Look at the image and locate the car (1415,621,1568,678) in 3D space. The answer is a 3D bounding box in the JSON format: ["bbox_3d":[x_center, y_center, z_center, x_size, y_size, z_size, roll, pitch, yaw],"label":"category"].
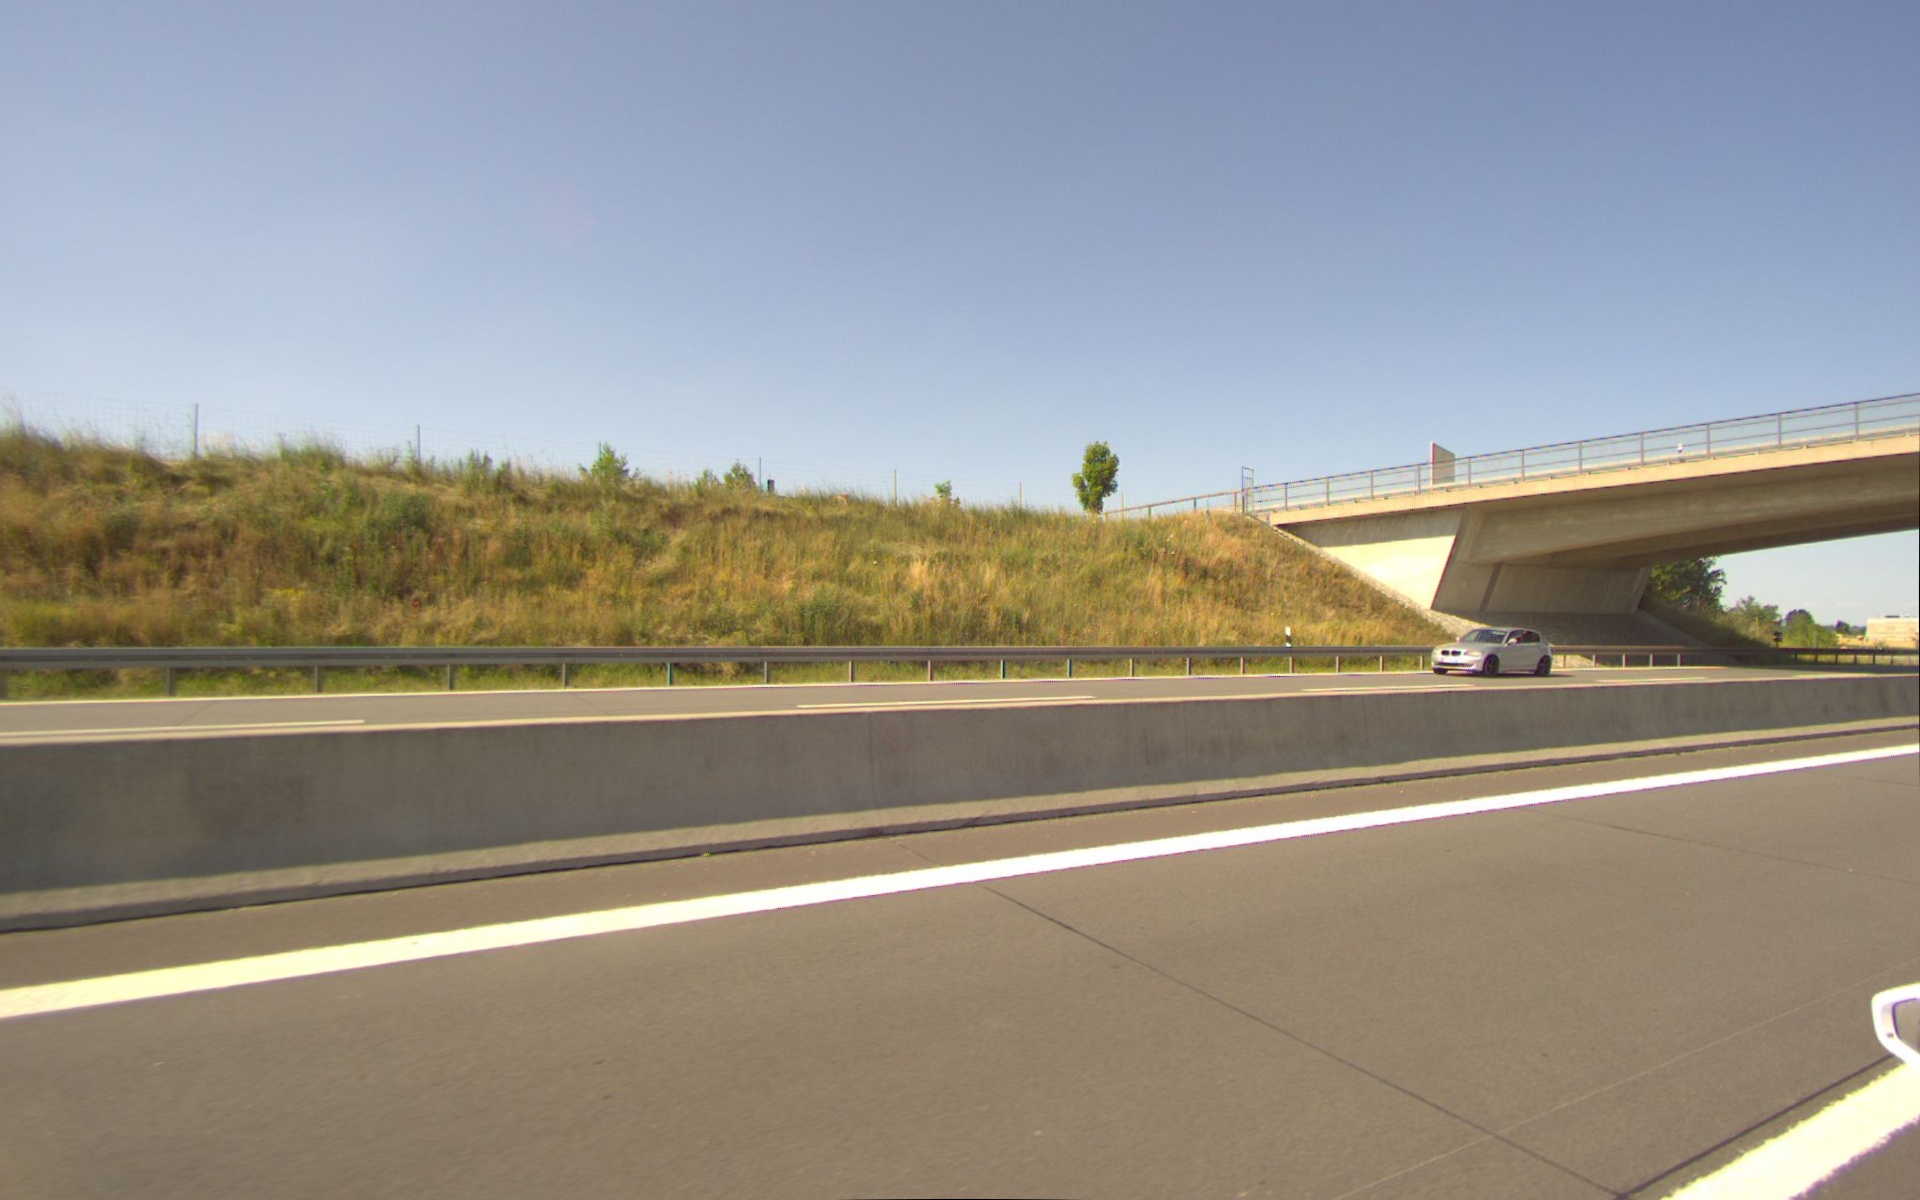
[{"bbox_3d":[15.716,1.425,29.658,4.513,1.551,1.853,1,-1,-29],"label":"car"}]
